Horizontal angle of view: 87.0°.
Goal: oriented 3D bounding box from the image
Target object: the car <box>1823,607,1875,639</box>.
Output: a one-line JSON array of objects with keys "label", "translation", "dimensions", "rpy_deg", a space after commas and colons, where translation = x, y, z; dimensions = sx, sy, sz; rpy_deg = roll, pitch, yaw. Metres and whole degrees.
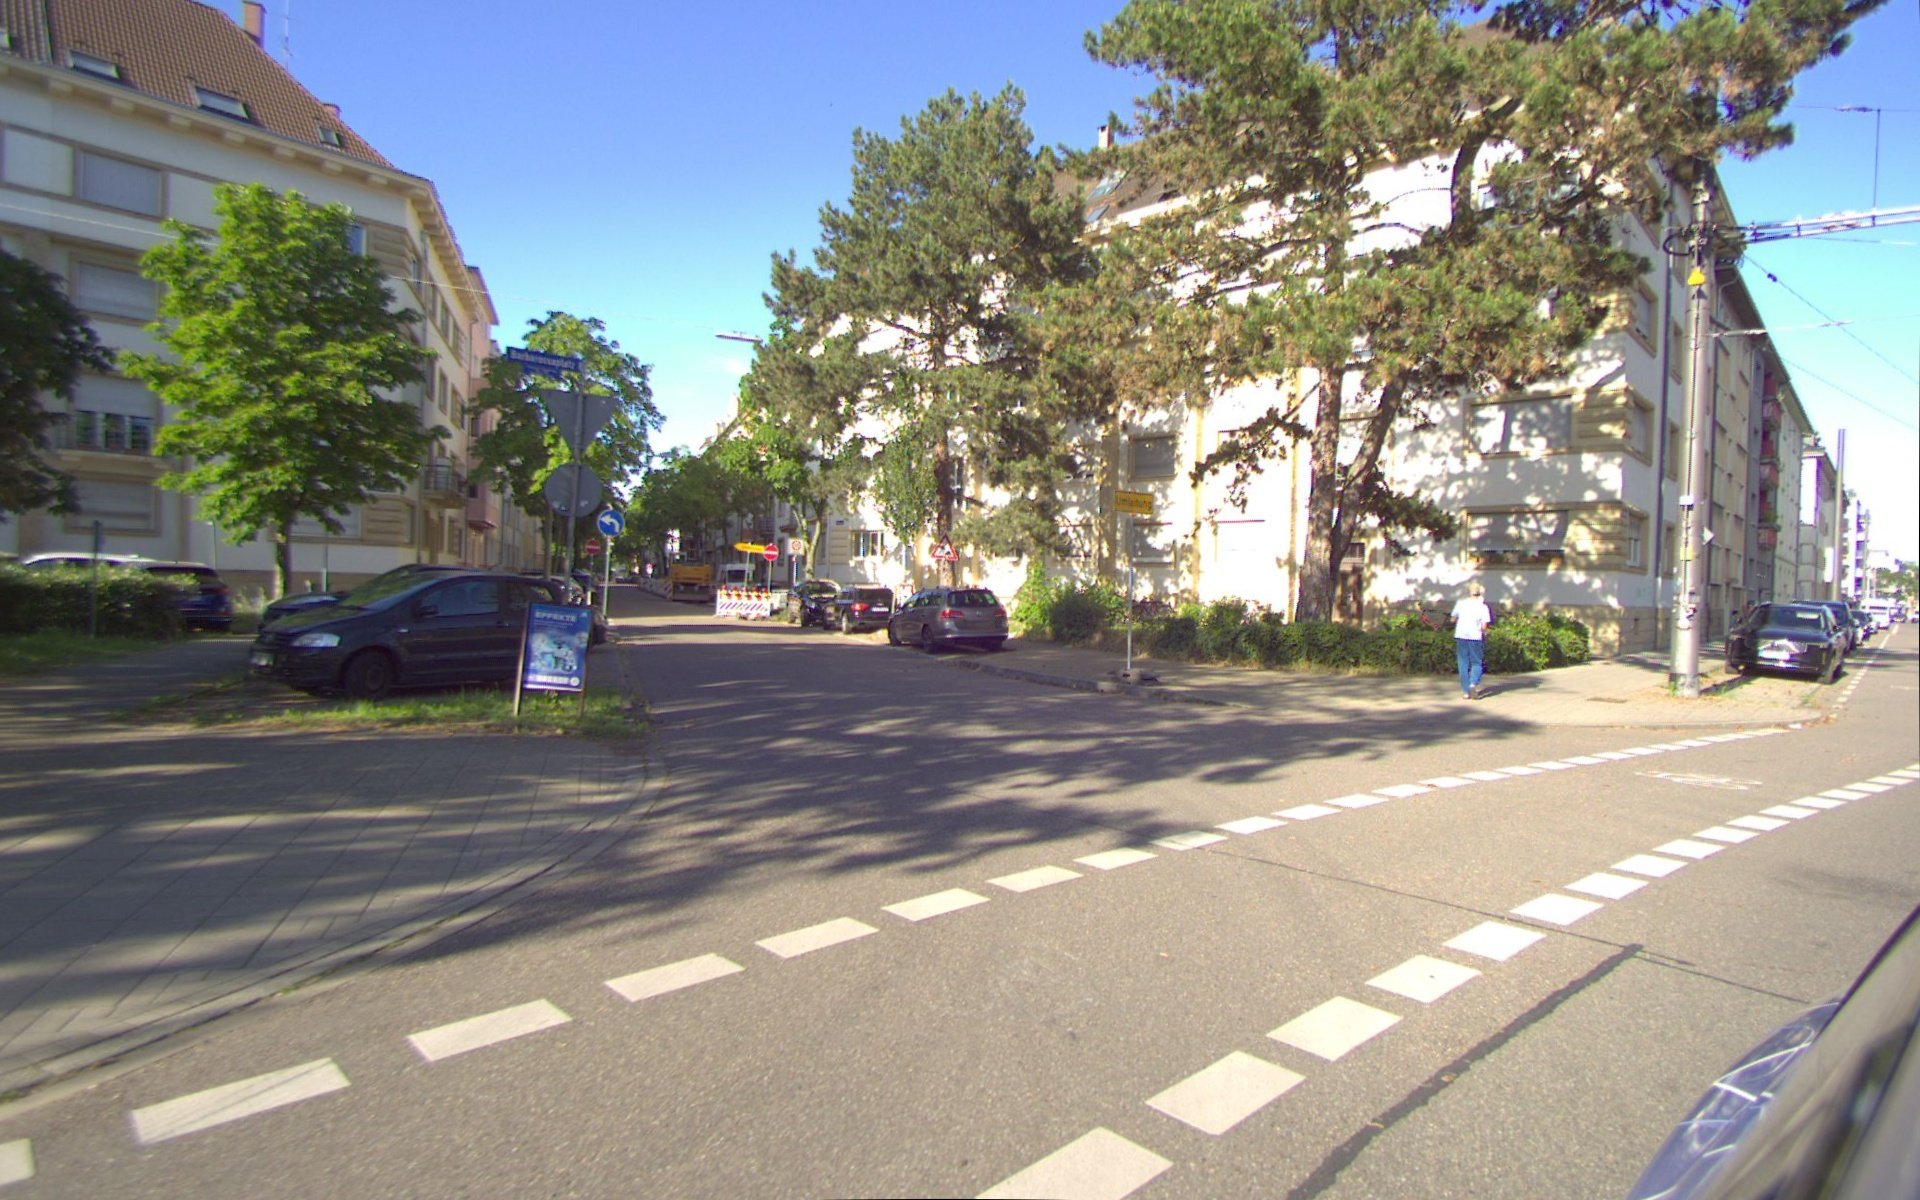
[{"label": "car", "translation": [43.059, 1.095, 48.976], "dimensions": [1.703, 1.290, 4.236], "rpy_deg": [7, 4, 43]}]

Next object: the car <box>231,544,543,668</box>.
[{"label": "car", "translation": [-8.328, 0.075, 14.907], "dimensions": [3.743, 1.592, 1.454], "rpy_deg": [1, 2, -43]}]

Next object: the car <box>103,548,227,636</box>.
[{"label": "car", "translation": [-15.665, -0.195, 19.891], "dimensions": [1.550, 1.387, 3.352], "rpy_deg": [1, 5, -44]}]

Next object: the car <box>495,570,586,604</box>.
[{"label": "car", "translation": [-20.006, -0.590, 48.419], "dimensions": [3.916, 1.572, 1.821], "rpy_deg": [0, -1, -19]}]

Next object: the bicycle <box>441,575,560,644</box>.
[{"label": "bicycle", "translation": [-10.083, 0.211, 22.289], "dimensions": [2.288, 1.477, 0.756], "rpy_deg": [0, -1, -15]}]

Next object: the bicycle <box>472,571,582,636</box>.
[{"label": "bicycle", "translation": [-9.950, 0.086, 23.310], "dimensions": [2.293, 1.477, 0.560], "rpy_deg": [0, -1, 1]}]

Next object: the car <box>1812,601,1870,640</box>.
[{"label": "car", "translation": [38.015, 0.873, 43.643], "dimensions": [1.637, 1.471, 3.729], "rpy_deg": [6, 3, 44]}]

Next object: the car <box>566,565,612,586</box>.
[{"label": "car", "translation": [-33.904, -2.233, 92.568], "dimensions": [3.916, 1.728, 2.004], "rpy_deg": [0, -1, -19]}]

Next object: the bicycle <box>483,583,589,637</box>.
[{"label": "bicycle", "translation": [-10.018, 0.236, 23.935], "dimensions": [2.293, 1.243, 0.560], "rpy_deg": [0, -1, 2]}]

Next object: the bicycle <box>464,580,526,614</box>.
[{"label": "bicycle", "translation": [-17.055, -0.102, 37.149], "dimensions": [2.020, 1.204, 0.597], "rpy_deg": [1, -1, -30]}]

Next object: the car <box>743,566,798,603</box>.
[{"label": "car", "translation": [-9.123, -0.700, 48.452], "dimensions": [1.762, 1.632, 4.007], "rpy_deg": [1, -1, -23]}]

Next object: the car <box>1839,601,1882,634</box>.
[{"label": "car", "translation": [50.411, 0.947, 56.687], "dimensions": [1.635, 1.667, 4.308], "rpy_deg": [6, 3, 41]}]

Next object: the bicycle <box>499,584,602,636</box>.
[{"label": "bicycle", "translation": [-9.933, 0.247, 24.575], "dimensions": [2.294, 1.233, 0.554], "rpy_deg": [0, -1, 3]}]

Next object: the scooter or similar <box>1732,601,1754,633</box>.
[{"label": "scooter or similar", "translation": [31.678, 0.683, 40.960], "dimensions": [0.459, 1.253, 1.317], "rpy_deg": [7, 4, 44]}]

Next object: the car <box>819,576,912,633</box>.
[{"label": "car", "translation": [-2.968, 0.087, 31.139], "dimensions": [1.732, 1.487, 3.921], "rpy_deg": [2, 2, -22]}]

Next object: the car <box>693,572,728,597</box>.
[{"label": "car", "translation": [-17.309, -1.032, 70.062], "dimensions": [1.762, 1.632, 4.007], "rpy_deg": [1, -1, -23]}]

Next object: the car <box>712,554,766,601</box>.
[{"label": "car", "translation": [-12.604, -1.197, 57.463], "dimensions": [2.082, 2.474, 5.327], "rpy_deg": [1, -1, -23]}]

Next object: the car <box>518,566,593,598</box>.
[{"label": "car", "translation": [-23.152, -0.997, 58.072], "dimensions": [3.916, 1.728, 2.004], "rpy_deg": [0, -1, -19]}]

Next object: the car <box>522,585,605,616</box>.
[{"label": "car", "translation": [-20.606, 0.053, 52.763], "dimensions": [3.916, 1.572, 2.004], "rpy_deg": [0, -1, -19]}]

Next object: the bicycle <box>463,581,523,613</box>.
[{"label": "bicycle", "translation": [-17.813, -0.091, 38.610], "dimensions": [2.020, 1.204, 0.597], "rpy_deg": [1, -1, -30]}]

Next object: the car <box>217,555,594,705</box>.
[{"label": "car", "translation": [-6.654, 0.295, 12.526], "dimensions": [1.629, 1.513, 3.764], "rpy_deg": [3, 1, 32]}]

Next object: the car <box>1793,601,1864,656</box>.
[{"label": "car", "translation": [26.899, 0.843, 31.335], "dimensions": [1.510, 1.496, 4.175], "rpy_deg": [4, 2, 41]}]

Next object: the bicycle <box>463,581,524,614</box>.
[{"label": "bicycle", "translation": [-17.479, -0.090, 37.936], "dimensions": [2.020, 1.204, 0.597], "rpy_deg": [1, -1, -30]}]

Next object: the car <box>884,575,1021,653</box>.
[{"label": "car", "translation": [-0.287, 0.240, 23.623], "dimensions": [1.733, 1.519, 4.315], "rpy_deg": [-2, 3, -22]}]

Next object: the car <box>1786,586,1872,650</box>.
[{"label": "car", "translation": [30.269, 0.582, 35.204], "dimensions": [1.914, 1.922, 5.054], "rpy_deg": [7, 4, 43]}]

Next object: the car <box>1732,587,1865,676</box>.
[{"label": "car", "translation": [19.862, 0.694, 23.886], "dimensions": [1.881, 1.737, 4.853], "rpy_deg": [7, 4, 45]}]

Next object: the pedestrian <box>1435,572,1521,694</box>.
[{"label": "pedestrian", "translation": [7.800, 0.477, 15.243], "dimensions": [0.712, 1.743, 0.882], "rpy_deg": [2, 0, -40]}]

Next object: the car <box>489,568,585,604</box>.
[{"label": "car", "translation": [-19.322, -0.619, 46.399], "dimensions": [3.916, 1.572, 1.821], "rpy_deg": [0, -1, -19]}]

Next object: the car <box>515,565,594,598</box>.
[{"label": "car", "translation": [-22.287, -0.985, 55.736], "dimensions": [3.916, 1.728, 2.004], "rpy_deg": [0, -1, -19]}]

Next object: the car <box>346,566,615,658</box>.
[{"label": "car", "translation": [-8.709, 0.193, 18.684], "dimensions": [1.633, 1.458, 4.182], "rpy_deg": [3, 2, 38]}]

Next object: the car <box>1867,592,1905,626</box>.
[{"label": "car", "translation": [79.468, 0.768, 86.797], "dimensions": [2.152, 2.729, 6.192], "rpy_deg": [5, 3, 43]}]

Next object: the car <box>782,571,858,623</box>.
[{"label": "car", "translation": [-5.098, -0.130, 36.409], "dimensions": [1.732, 1.733, 3.920], "rpy_deg": [2, 0, -22]}]
